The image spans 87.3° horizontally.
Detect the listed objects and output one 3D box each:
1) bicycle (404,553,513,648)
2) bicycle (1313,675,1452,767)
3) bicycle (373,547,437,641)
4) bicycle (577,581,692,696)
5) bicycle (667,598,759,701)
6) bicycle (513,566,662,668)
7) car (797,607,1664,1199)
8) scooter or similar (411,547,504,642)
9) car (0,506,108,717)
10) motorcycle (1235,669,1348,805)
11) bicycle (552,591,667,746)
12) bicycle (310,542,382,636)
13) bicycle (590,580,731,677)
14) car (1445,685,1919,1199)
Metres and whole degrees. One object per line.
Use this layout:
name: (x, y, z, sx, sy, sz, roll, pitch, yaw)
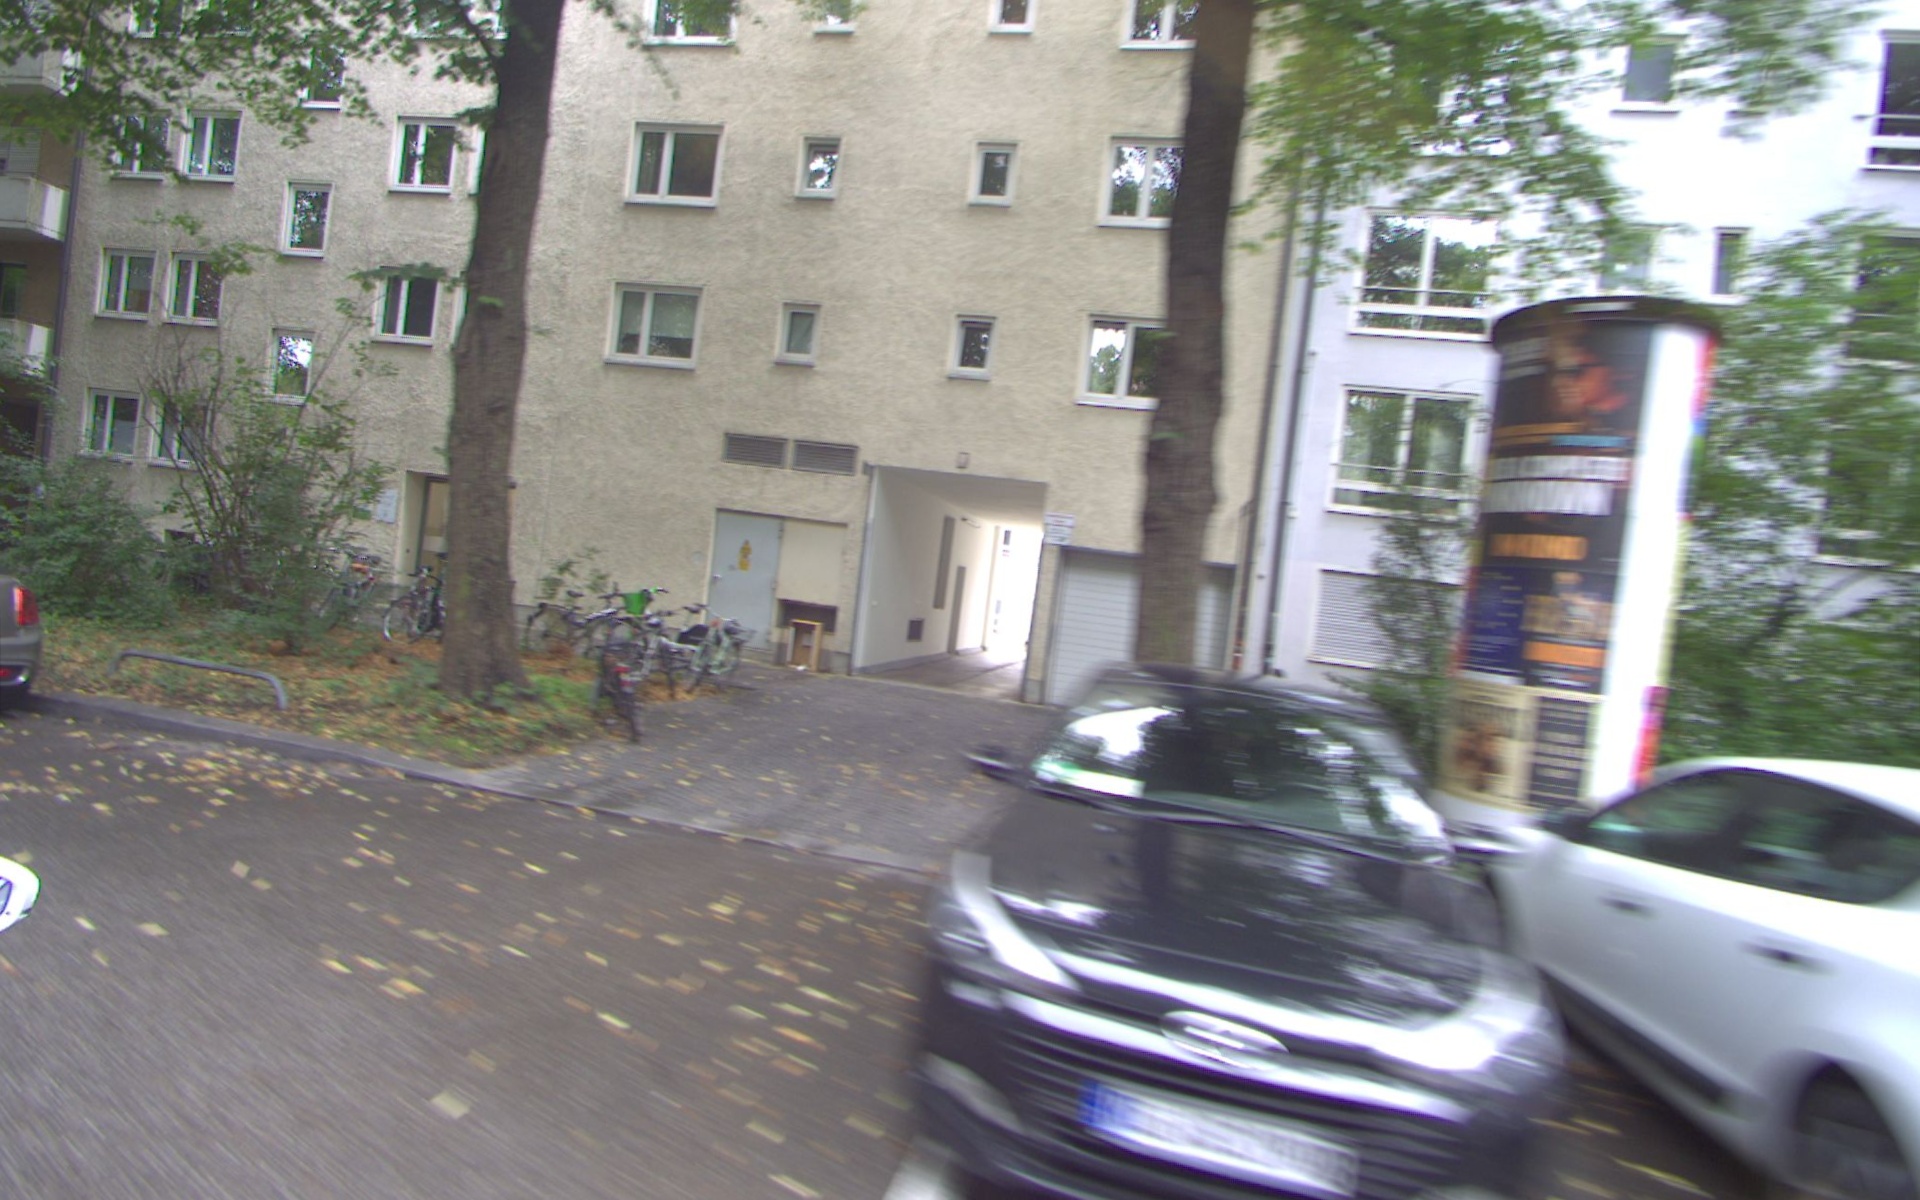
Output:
bicycle: (-6.696, 0.014, 13.541, 0.437, 1.137, 1.948, 7, -1, -2)
bicycle: (6.070, 1.735, 14.532, 1.669, 1.037, 0.539, 7, 3, 12)
bicycle: (-7.429, -0.098, 13.516, 0.440, 1.137, 1.762, 7, 0, -22)
bicycle: (-3.656, 0.425, 11.455, 0.530, 1.137, 1.877, 7, -1, 1)
bicycle: (-3.062, 0.590, 12.640, 0.530, 1.137, 1.877, 7, -1, 1)
bicycle: (-5.042, 0.229, 13.650, 1.738, 1.137, 0.446, 7, 0, 2)
car: (1.006, 0.909, 4.212, 1.702, 1.411, 4.098, 7, -1, 14)
scooter or similar: (-7.465, -0.080, 14.955, 1.115, 1.268, 0.385, 7, 0, 13)
car: (-8.734, -0.158, 7.049, 4.345, 1.431, 1.905, 7, 1, 12)
motorcycle: (3.576, 1.438, 11.013, 0.678, 1.212, 1.808, 7, 0, 6)
bicycle: (-3.275, 0.579, 9.282, 0.757, 1.178, 1.860, 7, 0, -23)
bicycle: (-8.221, -0.165, 13.518, 0.440, 1.137, 1.762, 7, 0, -22)
bicycle: (-4.219, 0.398, 14.222, 1.738, 1.137, 0.446, 7, 0, 2)
car: (3.390, 1.251, 3.595, 1.792, 1.465, 3.950, 7, 0, 9)
